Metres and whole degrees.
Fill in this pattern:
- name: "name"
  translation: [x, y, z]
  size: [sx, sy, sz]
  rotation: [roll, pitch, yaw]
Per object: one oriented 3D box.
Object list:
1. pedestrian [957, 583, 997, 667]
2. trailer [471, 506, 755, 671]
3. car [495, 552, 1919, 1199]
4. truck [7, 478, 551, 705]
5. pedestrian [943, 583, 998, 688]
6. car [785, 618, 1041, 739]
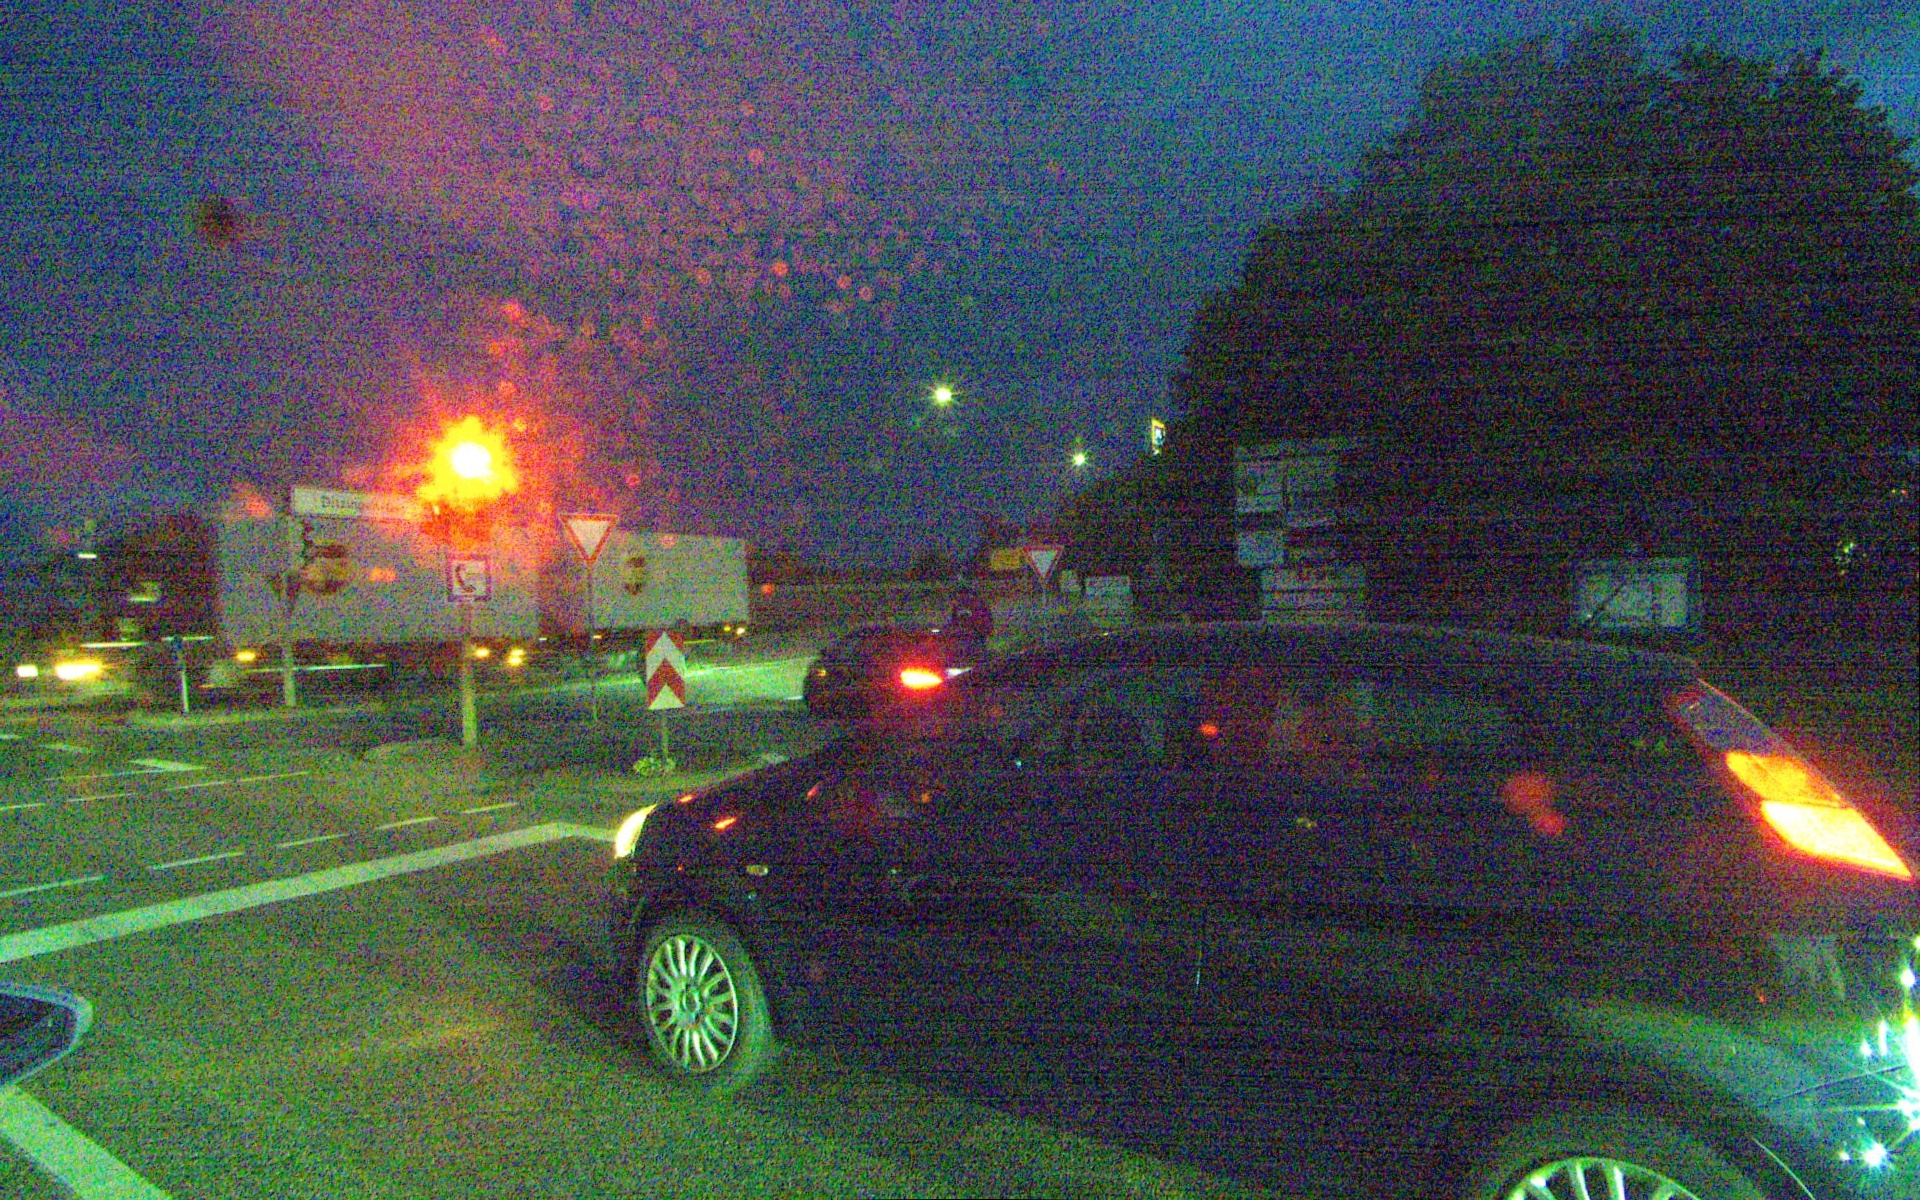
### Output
- name: "pedestrian"
  translation: [0.412, 0.572, 23.463]
  size: [0.860, 1.925, 0.660]
  rotation: [-1, 1, 6]
- name: "trailer"
  translation: [-10.326, -0.294, 31.244]
  size: [2.877, 4.359, 9.044]
  rotation: [0, 0, 25]
- name: "car"
  translation: [0.406, 0.737, 3.287]
  size: [4.049, 1.540, 1.666]
  rotation: [-1, -1, 34]
- name: "truck"
  translation: [-14.531, -0.139, 22.856]
  size: [2.880, 4.032, 10.027]
  rotation: [0, 0, 29]
- name: "pedestrian"
  translation: [0.198, 0.649, 18.676]
  size: [0.861, 1.859, 0.731]
  rotation: [-3, 1, 6]
- name: "car"
  translation: [-0.885, 0.995, 14.630]
  size: [1.896, 1.450, 4.681]
  rotation: [0, -1, -29]
